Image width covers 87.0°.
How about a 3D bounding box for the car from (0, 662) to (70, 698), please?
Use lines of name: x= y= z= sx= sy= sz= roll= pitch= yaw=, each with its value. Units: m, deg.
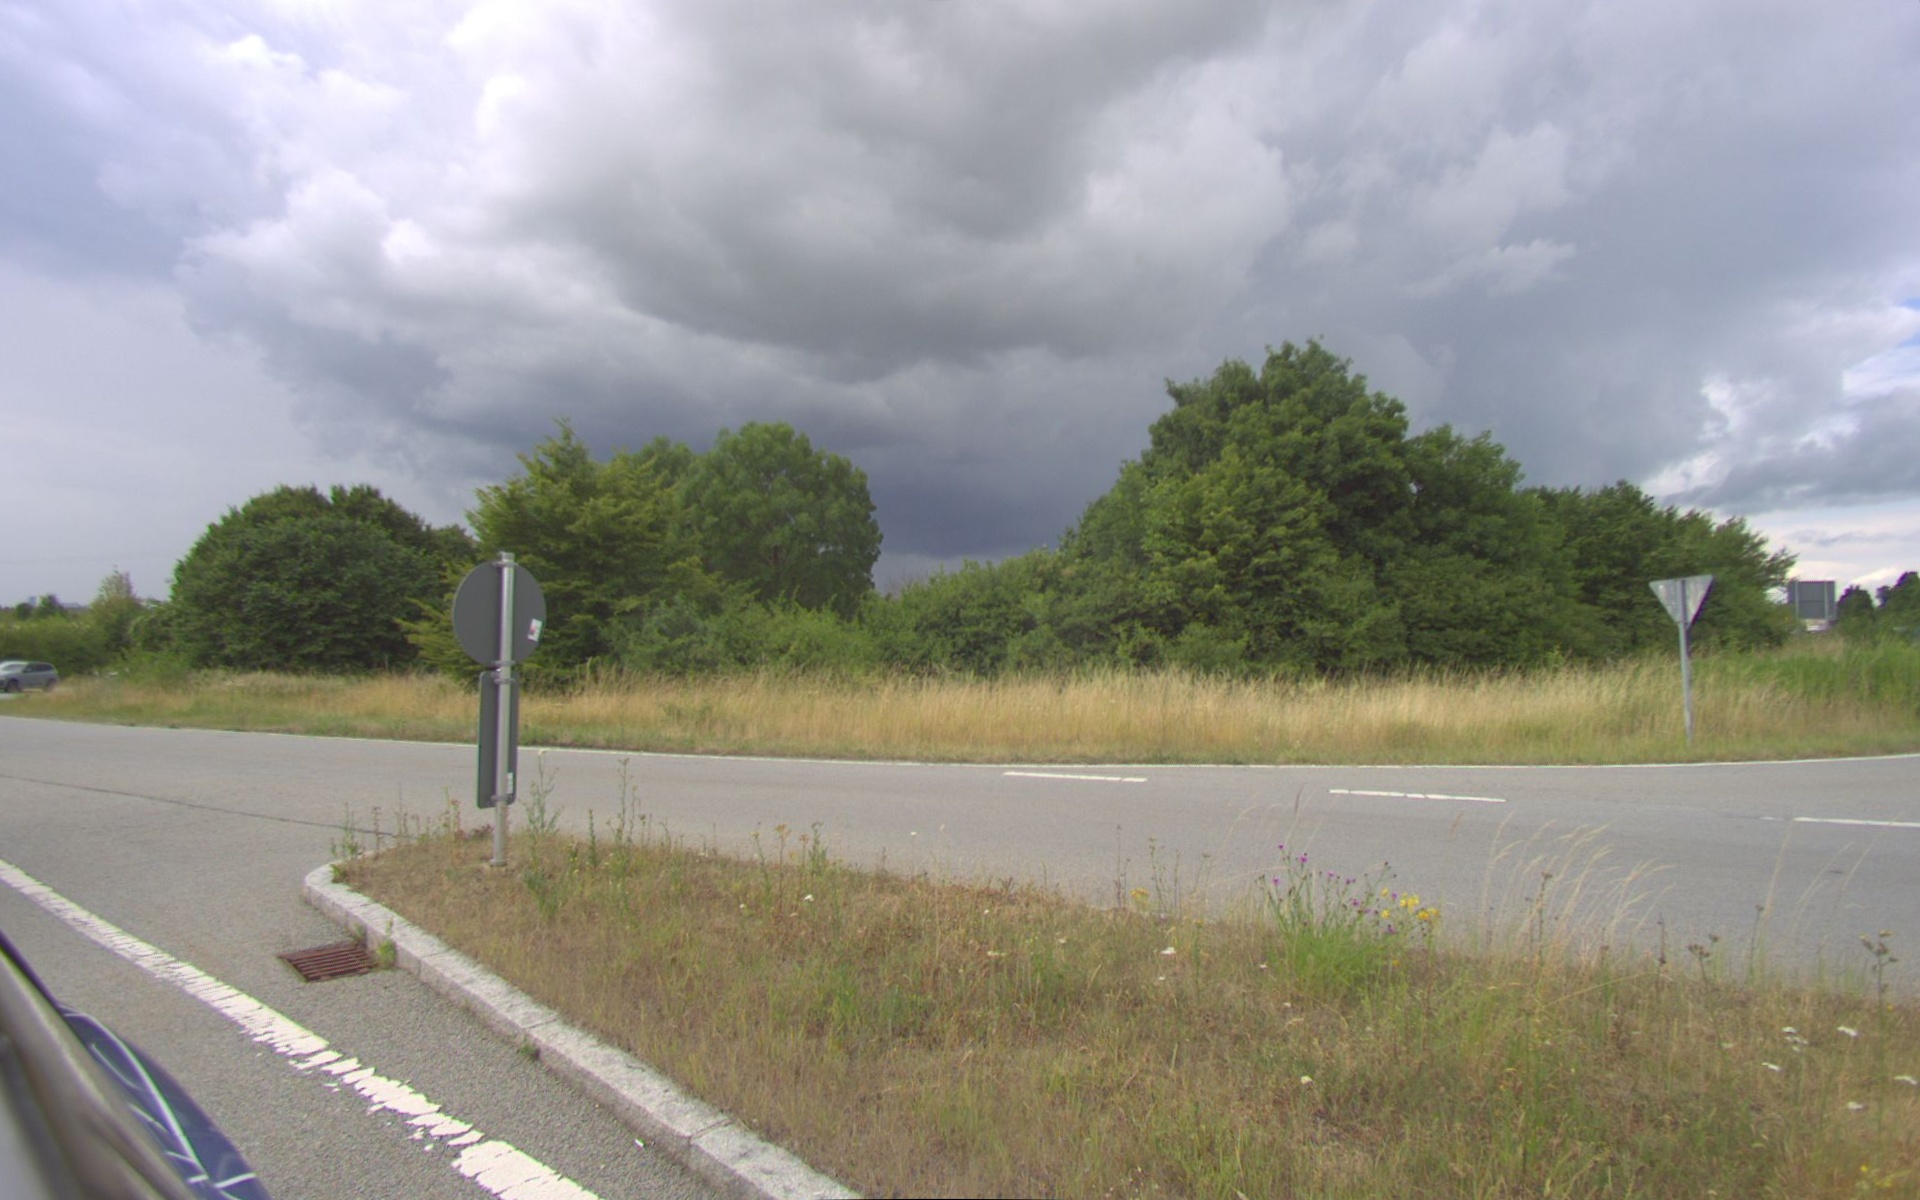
car: x=-52.173 y=4.400 z=55.890 sx=1.968 sy=1.733 sz=5.218 roll=3 pitch=-3 yaw=-9
